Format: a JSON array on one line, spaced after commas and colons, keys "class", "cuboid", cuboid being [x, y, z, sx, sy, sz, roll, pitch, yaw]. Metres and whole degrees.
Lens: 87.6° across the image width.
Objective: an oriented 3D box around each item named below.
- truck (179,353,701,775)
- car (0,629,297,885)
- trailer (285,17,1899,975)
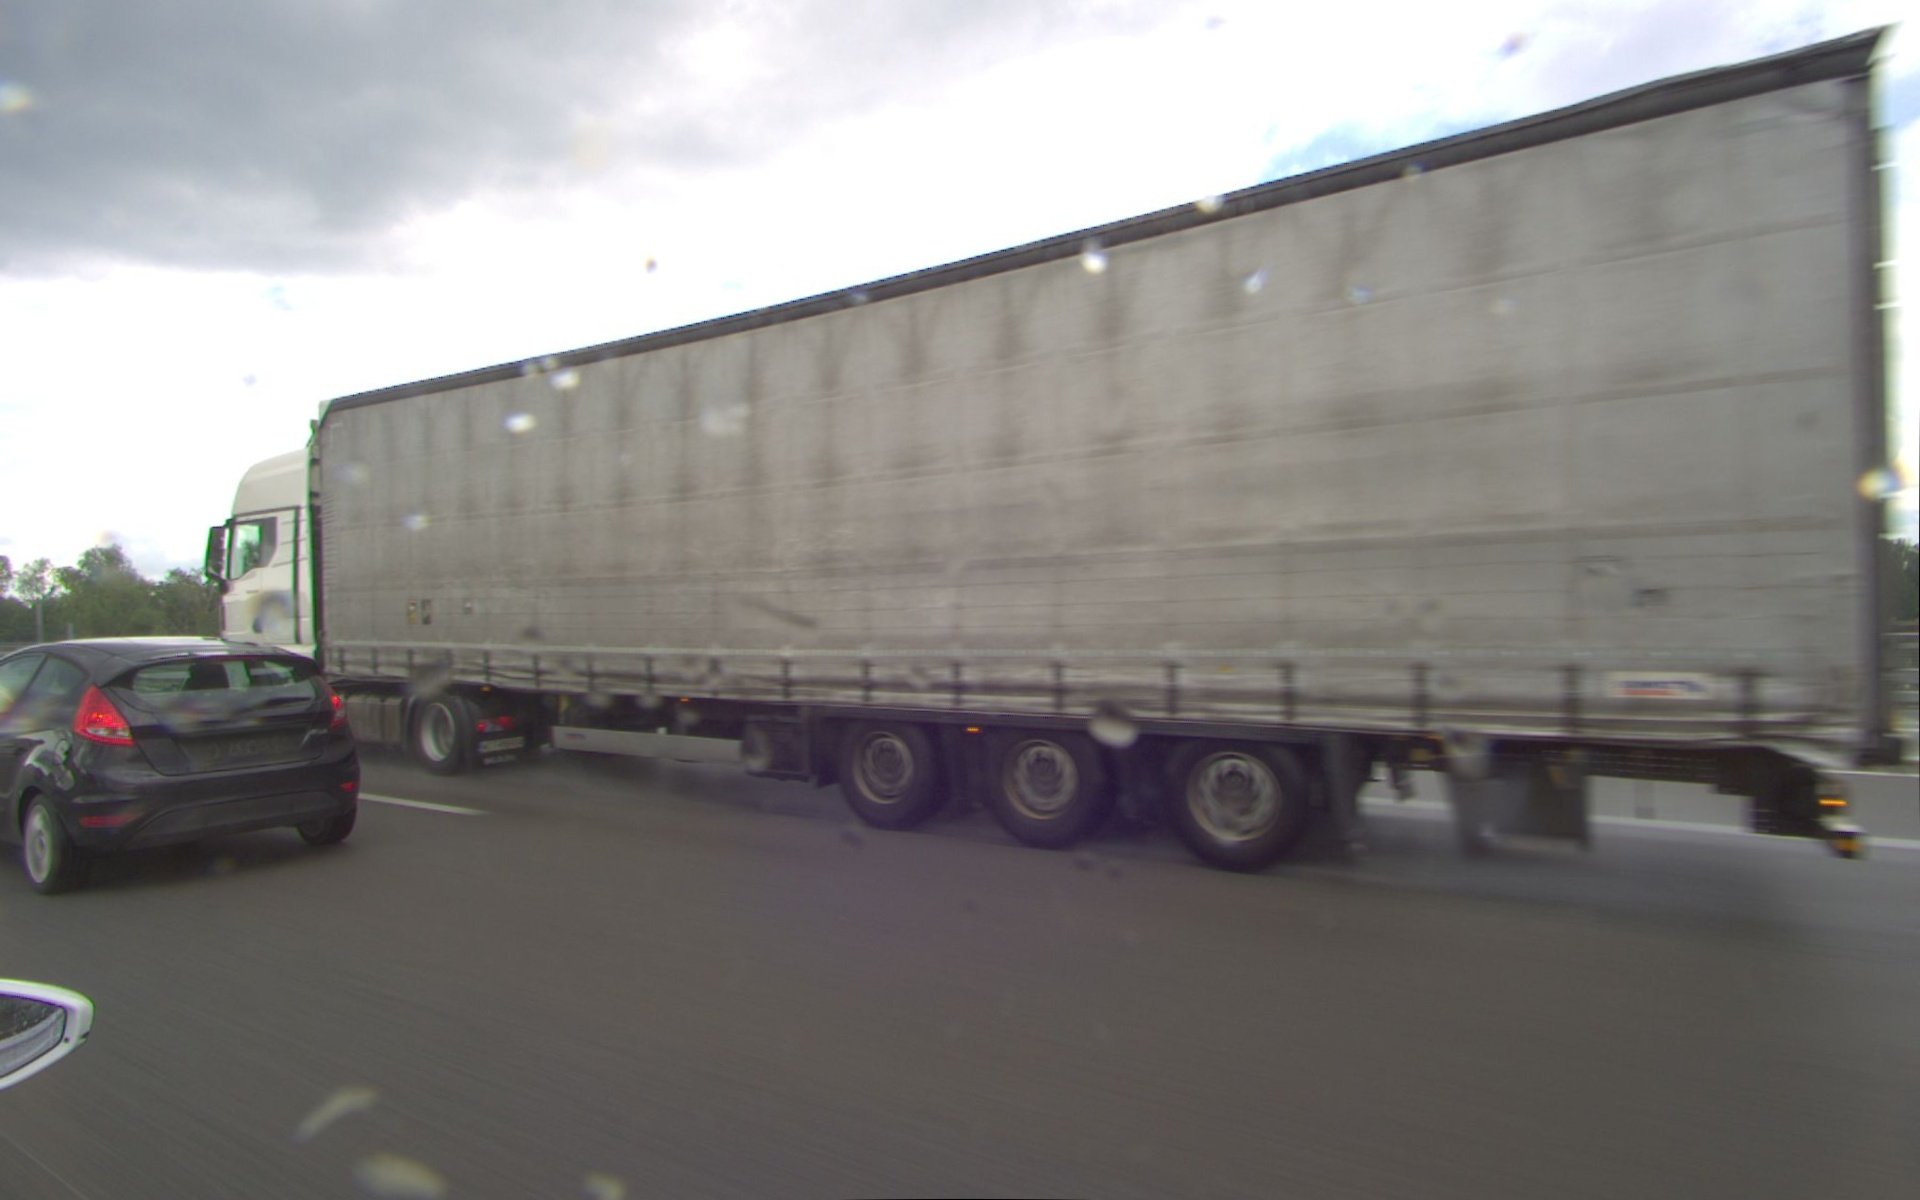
[{"class": "truck", "cuboid": [-6.674, -0.286, 12.640, 6.493, 4.072, 2.956, 0, -1, 32]}, {"class": "car", "cuboid": [-6.336, 0.946, 7.212, 3.118, 1.460, 1.444, -1, -1, 32]}, {"class": "trailer", "cuboid": [-1.158, -0.350, 9.203, 13.913, 4.072, 2.956, -1, -1, 32]}]
